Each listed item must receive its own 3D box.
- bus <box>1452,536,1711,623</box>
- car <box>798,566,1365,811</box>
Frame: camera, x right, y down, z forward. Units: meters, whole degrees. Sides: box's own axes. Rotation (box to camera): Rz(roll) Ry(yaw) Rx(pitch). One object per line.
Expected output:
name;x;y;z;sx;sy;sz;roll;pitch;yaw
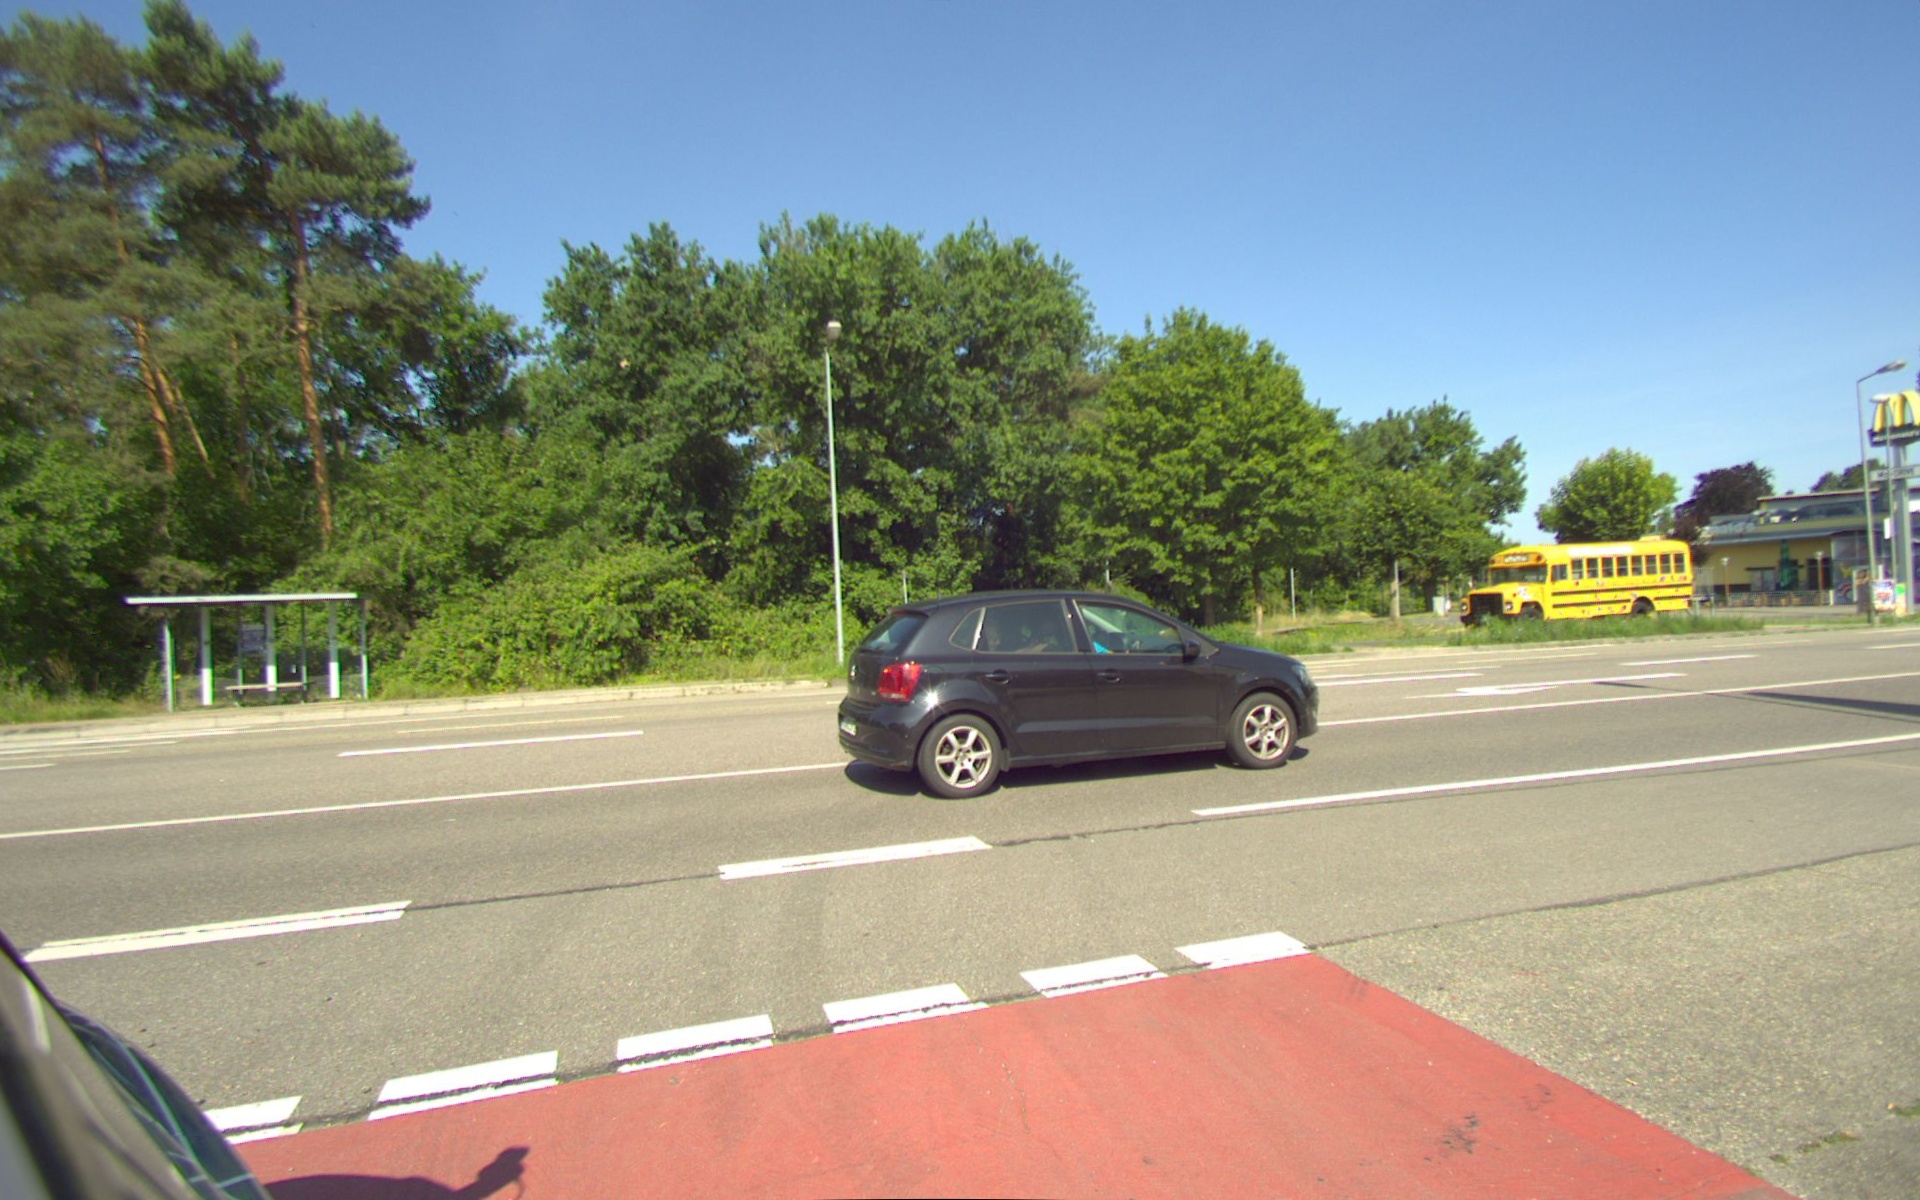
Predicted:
bus;21.276;-0.742;34.567;8.841;2.699;2.596;-2;0;-20
car;0.903;0.534;7.840;3.985;1.441;1.657;-2;1;-18
